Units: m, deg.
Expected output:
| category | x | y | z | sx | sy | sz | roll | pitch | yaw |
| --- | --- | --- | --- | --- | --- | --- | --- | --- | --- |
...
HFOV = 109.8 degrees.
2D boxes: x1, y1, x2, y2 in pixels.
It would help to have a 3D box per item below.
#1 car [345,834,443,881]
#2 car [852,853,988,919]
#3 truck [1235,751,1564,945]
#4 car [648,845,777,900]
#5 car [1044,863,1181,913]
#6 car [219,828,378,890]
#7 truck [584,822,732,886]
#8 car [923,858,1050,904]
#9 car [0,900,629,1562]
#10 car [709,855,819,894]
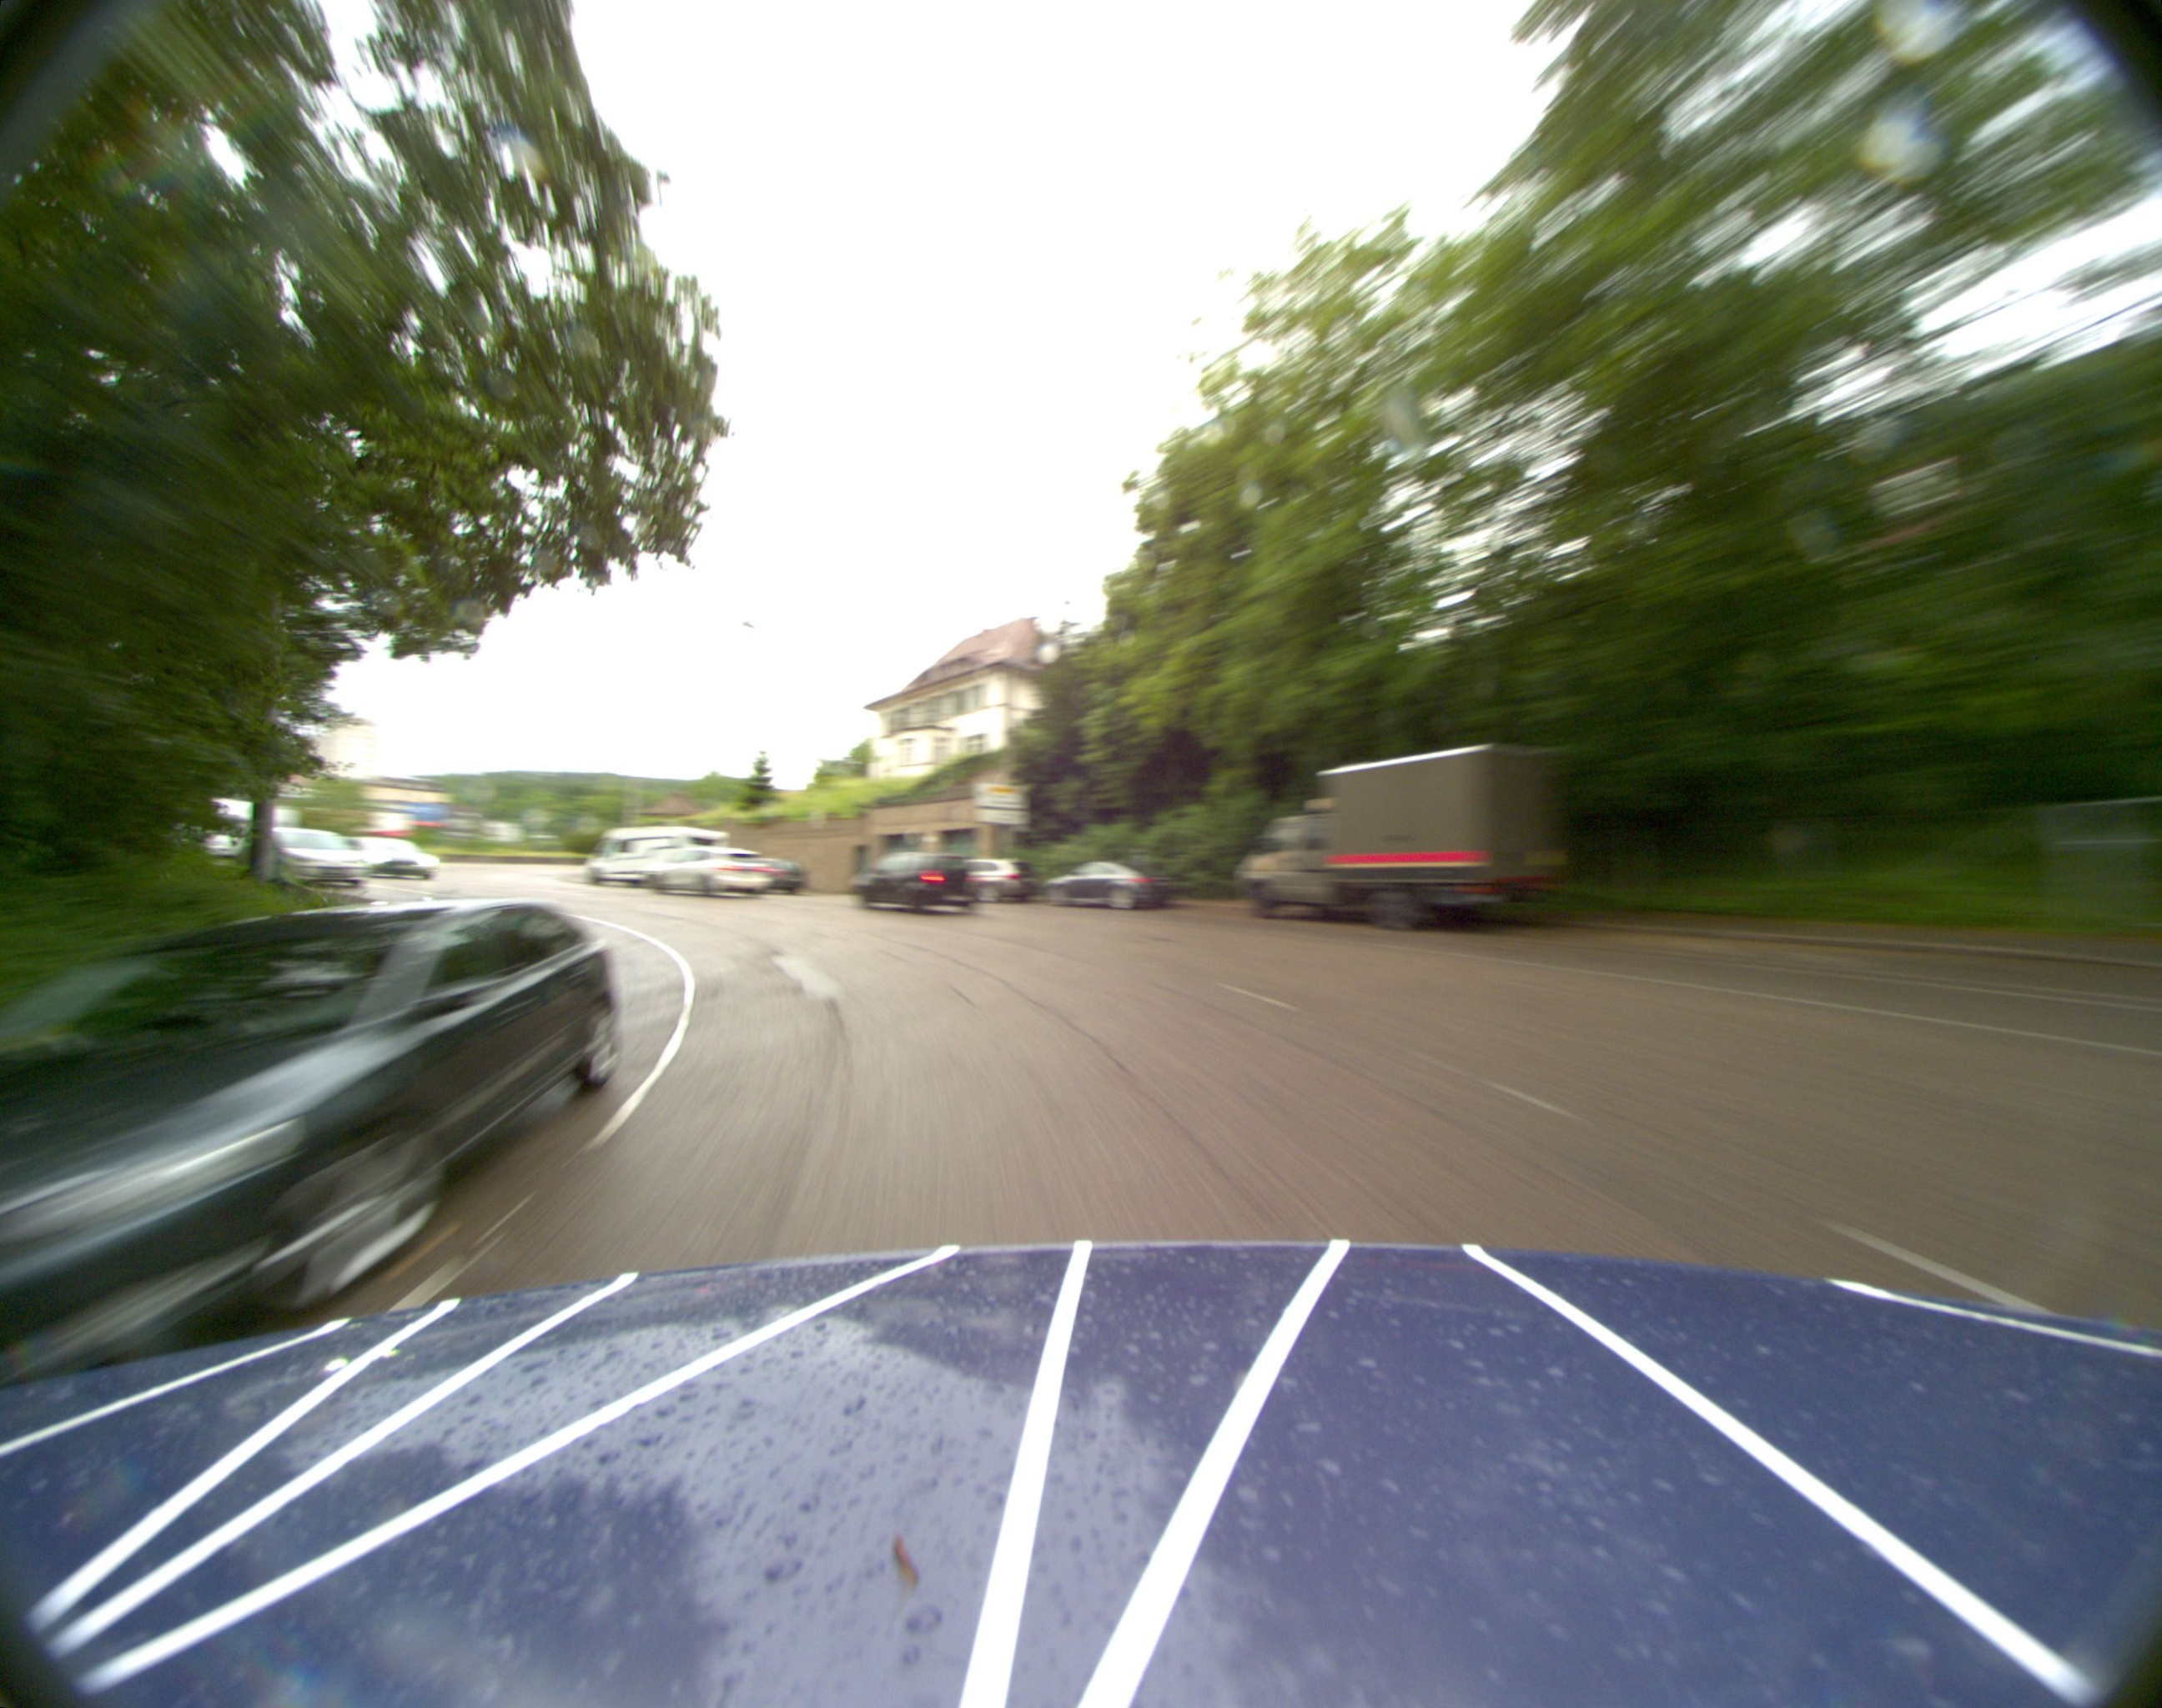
| category | x | y | z | sx | sy | sz | roll | pitch | yaw |
| --- | --- | --- | --- | --- | --- | --- | --- | --- | --- |
| car | -24.719 | 0.170 | 27.314 | 3.933 | 1.559 | 1.841 | -1 | -3 | 36 |
| car | -4.238 | 0.755 | 19.707 | 3.725 | 1.481 | 1.640 | 1 | 1 | 44 |
| truck | 5.856 | -0.056 | 15.049 | 2.235 | 3.041 | 5.934 | -1 | 0 | -27 |
| car | -12.171 | 0.593 | 25.055 | 4.069 | 1.563 | 1.826 | 2 | -1 | 30 |
| car | 0.845 | 0.930 | 21.958 | 3.815 | 1.292 | 1.604 | -1 | 0 | 44 |
| car | -21.200 | 0.106 | 20.589 | 3.749 | 1.518 | 1.678 | 2 | 1 | 22 |
| truck | -19.090 | 0.041 | 34.269 | 6.444 | 2.661 | 2.450 | 0 | -2 | 25 |
| car | -3.240 | 0.881 | 25.736 | 4.096 | 1.404 | 1.763 | 1 | -1 | 35 |
| car | -3.913 | 1.147 | 3.744 | 1.681 | 1.422 | 3.981 | -4 | 2 | -13 |
| car | -13.094 | 0.855 | 31.391 | 3.989 | 1.332 | 1.849 | 2 | -4 | 24 |
